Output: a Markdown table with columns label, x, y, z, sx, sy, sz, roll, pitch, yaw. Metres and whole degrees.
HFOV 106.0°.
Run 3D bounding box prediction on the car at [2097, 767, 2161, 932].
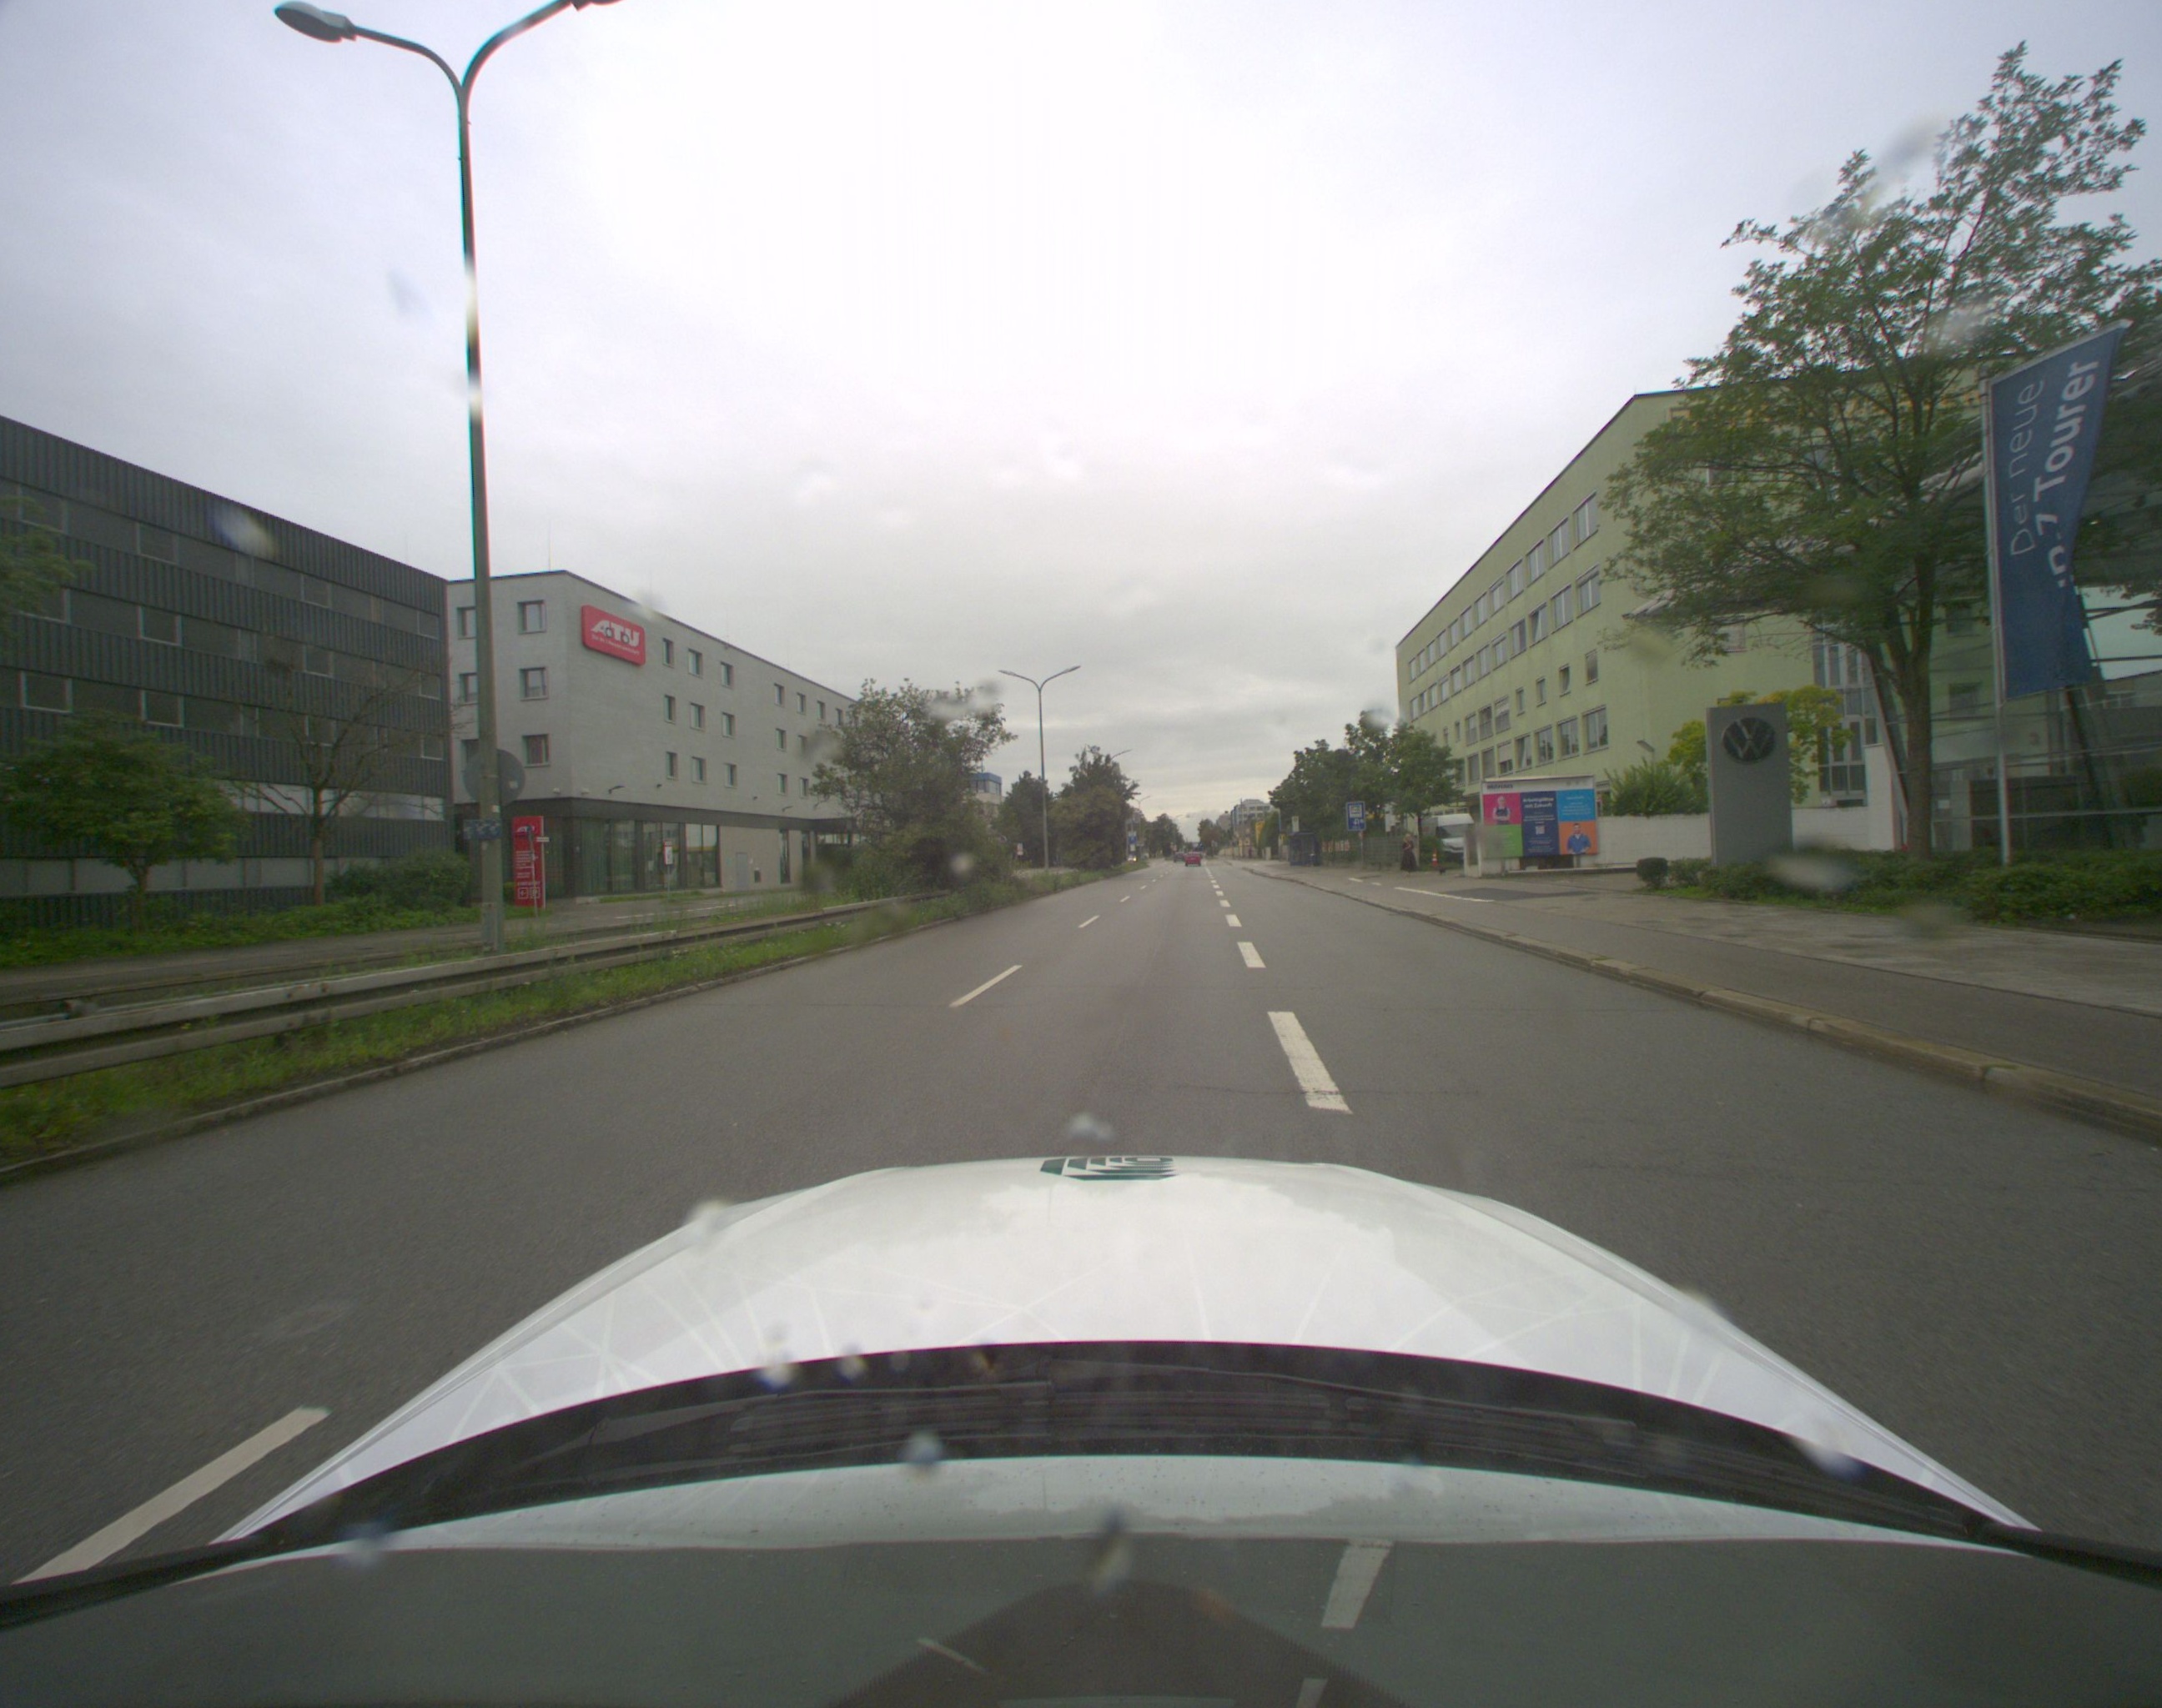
| label | x | y | z | sx | sy | sz | roll | pitch | yaw |
| --- | --- | --- | --- | --- | --- | --- | --- | --- | --- |
| car | 13.523 | -0.223 | 8.372 | 4.594 | 1.706 | 1.998 | -4 | -2 | -13 |

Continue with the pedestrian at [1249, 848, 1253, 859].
| label | x | y | z | sx | sy | sz | roll | pitch | yaw |
| --- | --- | --- | --- | --- | --- | --- | --- | --- | --- |
| pedestrian | 25.678 | -0.029 | 122.920 | 0.481 | 1.636 | 0.591 | -2 | 0 | 6 |

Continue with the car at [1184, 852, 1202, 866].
| label | x | y | z | sx | sy | sz | roll | pitch | yaw |
| --- | --- | --- | --- | --- | --- | --- | --- | --- | --- |
| car | 13.116 | 0.600 | 95.497 | 1.853 | 1.618 | 4.006 | -2 | -1 | 6 |

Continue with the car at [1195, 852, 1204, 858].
| label | x | y | z | sx | sy | sz | roll | pitch | yaw |
| --- | --- | --- | --- | --- | --- | --- | --- | --- | --- |
| car | 26.161 | 0.236 | 180.516 | 1.794 | 1.432 | 4.007 | -2 | -1 | 6 |

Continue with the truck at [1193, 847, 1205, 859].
| label | x | y | z | sx | sy | sz | roll | pitch | yaw |
| --- | --- | --- | --- | --- | --- | --- | --- | --- | --- |
| truck | 32.400 | -0.304 | 223.739 | 2.954 | 3.285 | 7.930 | -2 | 0 | 6 |

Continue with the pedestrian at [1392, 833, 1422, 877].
| label | x | y | z | sx | sy | sz | roll | pitch | yaw |
| --- | --- | --- | --- | --- | --- | --- | --- | --- | --- |
| pedestrian | 13.406 | 0.028 | 33.515 | 0.755 | 1.728 | 0.896 | -6 | -1 | 3 |

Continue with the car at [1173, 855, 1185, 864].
| label | x | y | z | sx | sy | sz | roll | pitch | yaw |
| --- | --- | --- | --- | --- | --- | --- | --- | --- | --- |
| car | 15.715 | 0.862 | 130.359 | 1.794 | 1.432 | 4.007 | -3 | 0 | 6 |

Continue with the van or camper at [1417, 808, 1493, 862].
| label | x | y | z | sx | sy | sz | roll | pitch | yaw |
| --- | --- | --- | --- | --- | --- | --- | --- | --- | --- |
| van or camper | 19.310 | -0.917 | 42.440 | 2.110 | 2.497 | 7.415 | -2 | 0 | 13 |
